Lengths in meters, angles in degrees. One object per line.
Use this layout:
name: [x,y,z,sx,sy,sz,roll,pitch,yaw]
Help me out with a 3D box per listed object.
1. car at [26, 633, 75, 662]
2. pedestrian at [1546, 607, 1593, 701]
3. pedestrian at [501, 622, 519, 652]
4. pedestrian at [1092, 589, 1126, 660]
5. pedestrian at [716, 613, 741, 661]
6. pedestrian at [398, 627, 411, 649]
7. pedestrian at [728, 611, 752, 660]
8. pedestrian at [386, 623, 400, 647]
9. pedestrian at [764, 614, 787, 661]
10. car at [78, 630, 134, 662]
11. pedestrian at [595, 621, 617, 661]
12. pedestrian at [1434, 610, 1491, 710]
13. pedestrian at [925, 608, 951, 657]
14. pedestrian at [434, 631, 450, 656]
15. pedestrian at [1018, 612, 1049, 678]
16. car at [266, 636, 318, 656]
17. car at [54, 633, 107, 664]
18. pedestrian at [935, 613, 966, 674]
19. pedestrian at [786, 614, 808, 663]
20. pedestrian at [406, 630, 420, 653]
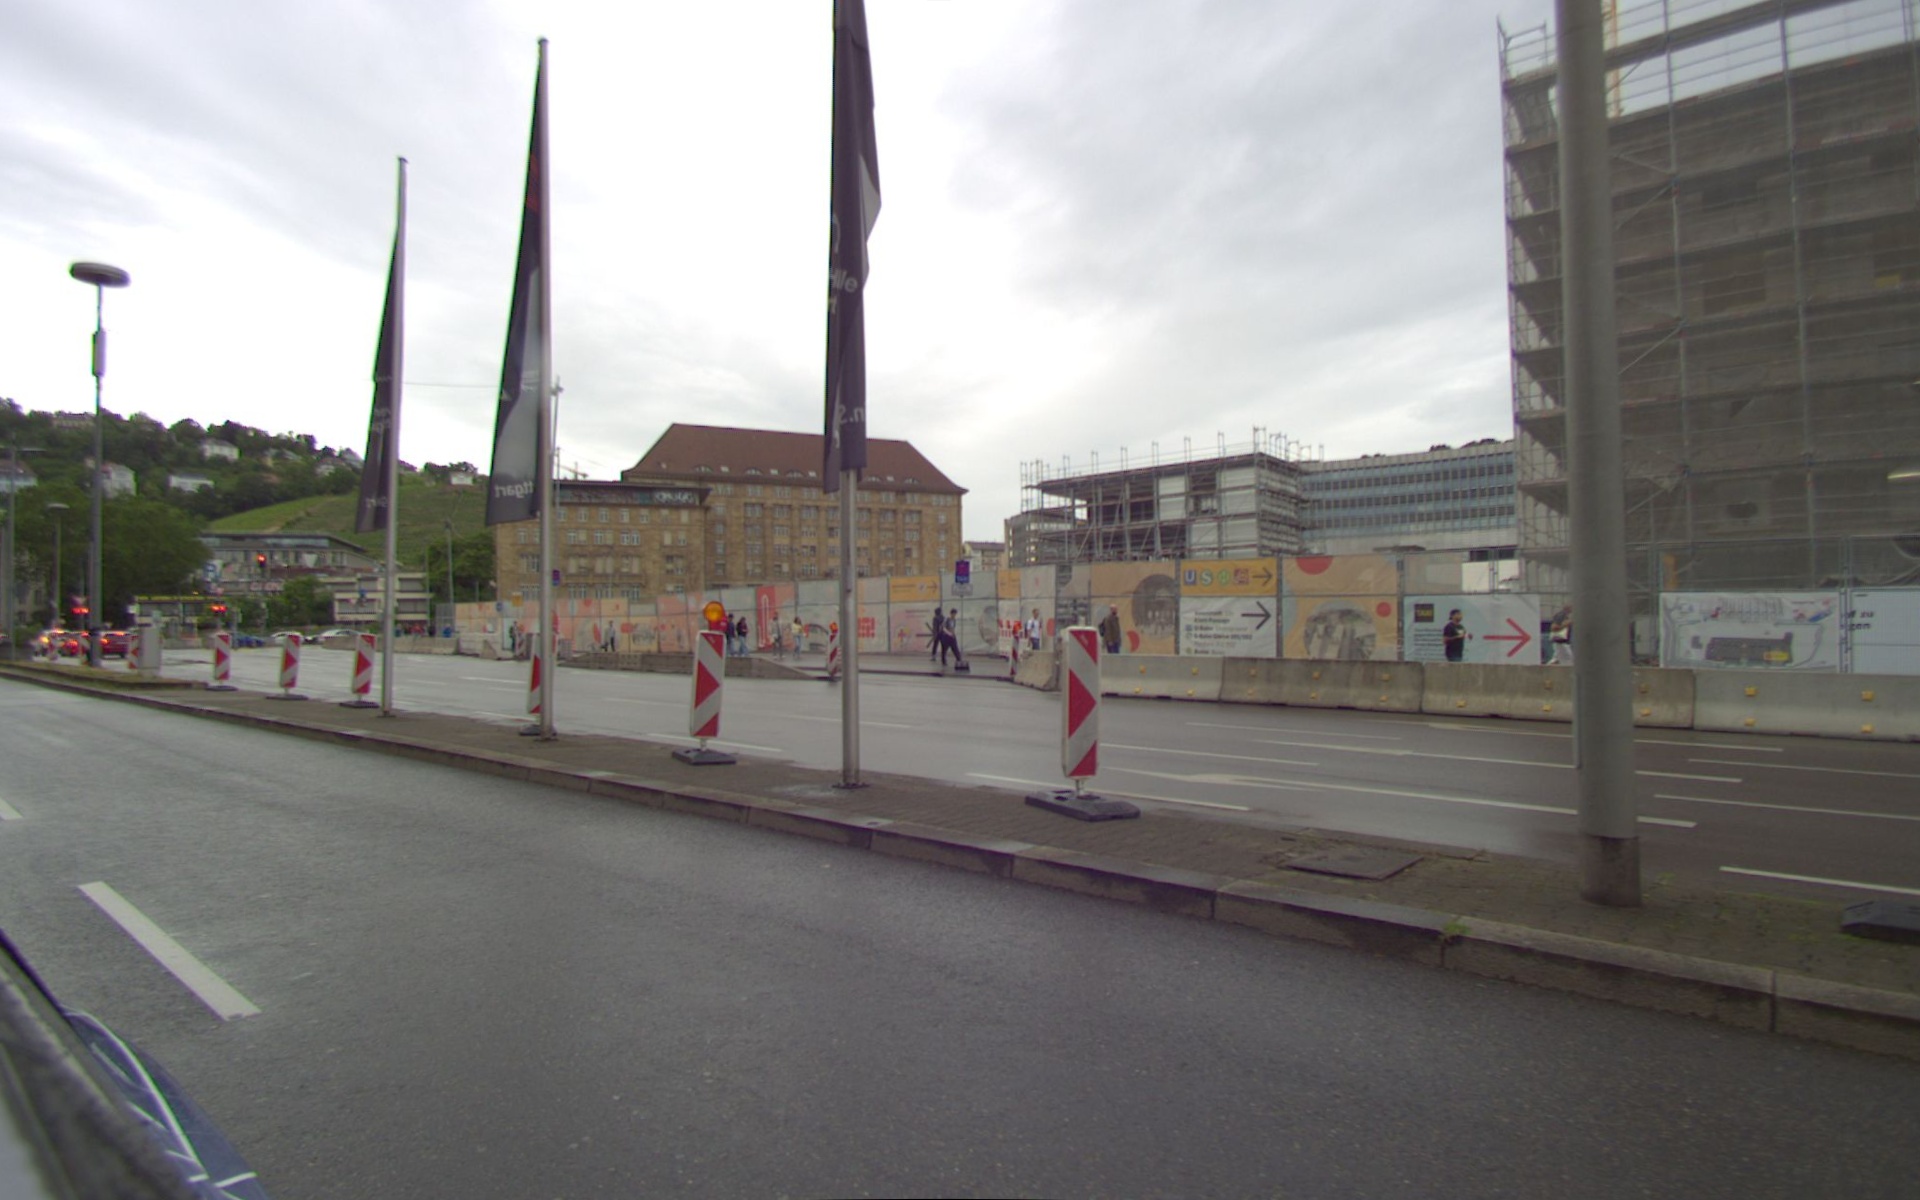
car: [-57.716,3.003,64.201,3.913,1.707,1.763,-1,0,40]
pedestrian: [12.321,1.075,20.463,0.717,1.850,0.475,-1,-1,41]
pedestrian: [-24.909,2.032,56.032,0.544,1.628,0.706,-1,-1,41]
pedestrian: [3.946,0.642,26.781,0.717,1.850,0.475,-1,-1,41]
pedestrian: [-8.680,1.370,37.865,0.704,1.746,0.719,-1,-1,-30]
pedestrian: [-42.046,2.895,76.668,0.544,1.628,0.706,-1,-1,41]
pedestrian: [-8.510,1.353,39.086,0.704,1.850,0.719,-1,-1,-30]
pedestrian: [-39.290,2.431,70.154,0.544,1.628,0.706,-1,-1,41]
pedestrian: [-7.074,1.432,38.801,0.704,1.757,0.565,-1,-1,-29]
car: [-46.788,2.507,55.426,3.914,1.707,1.762,-2,-2,41]
pedestrian: [-16.778,1.916,47.957,0.720,1.850,0.656,-1,-1,41]
pedestrian: [9.524,1.116,19.197,0.819,1.850,0.572,-1,-1,41]
pedestrian: [-0.748,1.096,34.521,0.544,1.628,0.706,-1,-1,41]
pedestrian: [-33.517,2.801,65.480,0.544,1.628,0.706,-1,-1,41]
pedestrian: [2.126,1.290,29.291,0.717,1.850,0.475,-1,-1,41]
car: [-67.189,4.607,101.803,4.136,1.871,1.833,-1,0,-44]
car: [-52.480,2.887,60.362,3.913,1.707,1.763,-1,0,40]
pedestrian: [-0.294,1.335,31.512,0.717,1.850,0.579,-1,-1,41]
pedestrian: [-6.246,1.456,38.864,0.651,1.850,0.557,-1,-1,-29]
pedestrian: [-38.380,2.907,70.996,0.544,1.628,0.706,-1,-1,41]
